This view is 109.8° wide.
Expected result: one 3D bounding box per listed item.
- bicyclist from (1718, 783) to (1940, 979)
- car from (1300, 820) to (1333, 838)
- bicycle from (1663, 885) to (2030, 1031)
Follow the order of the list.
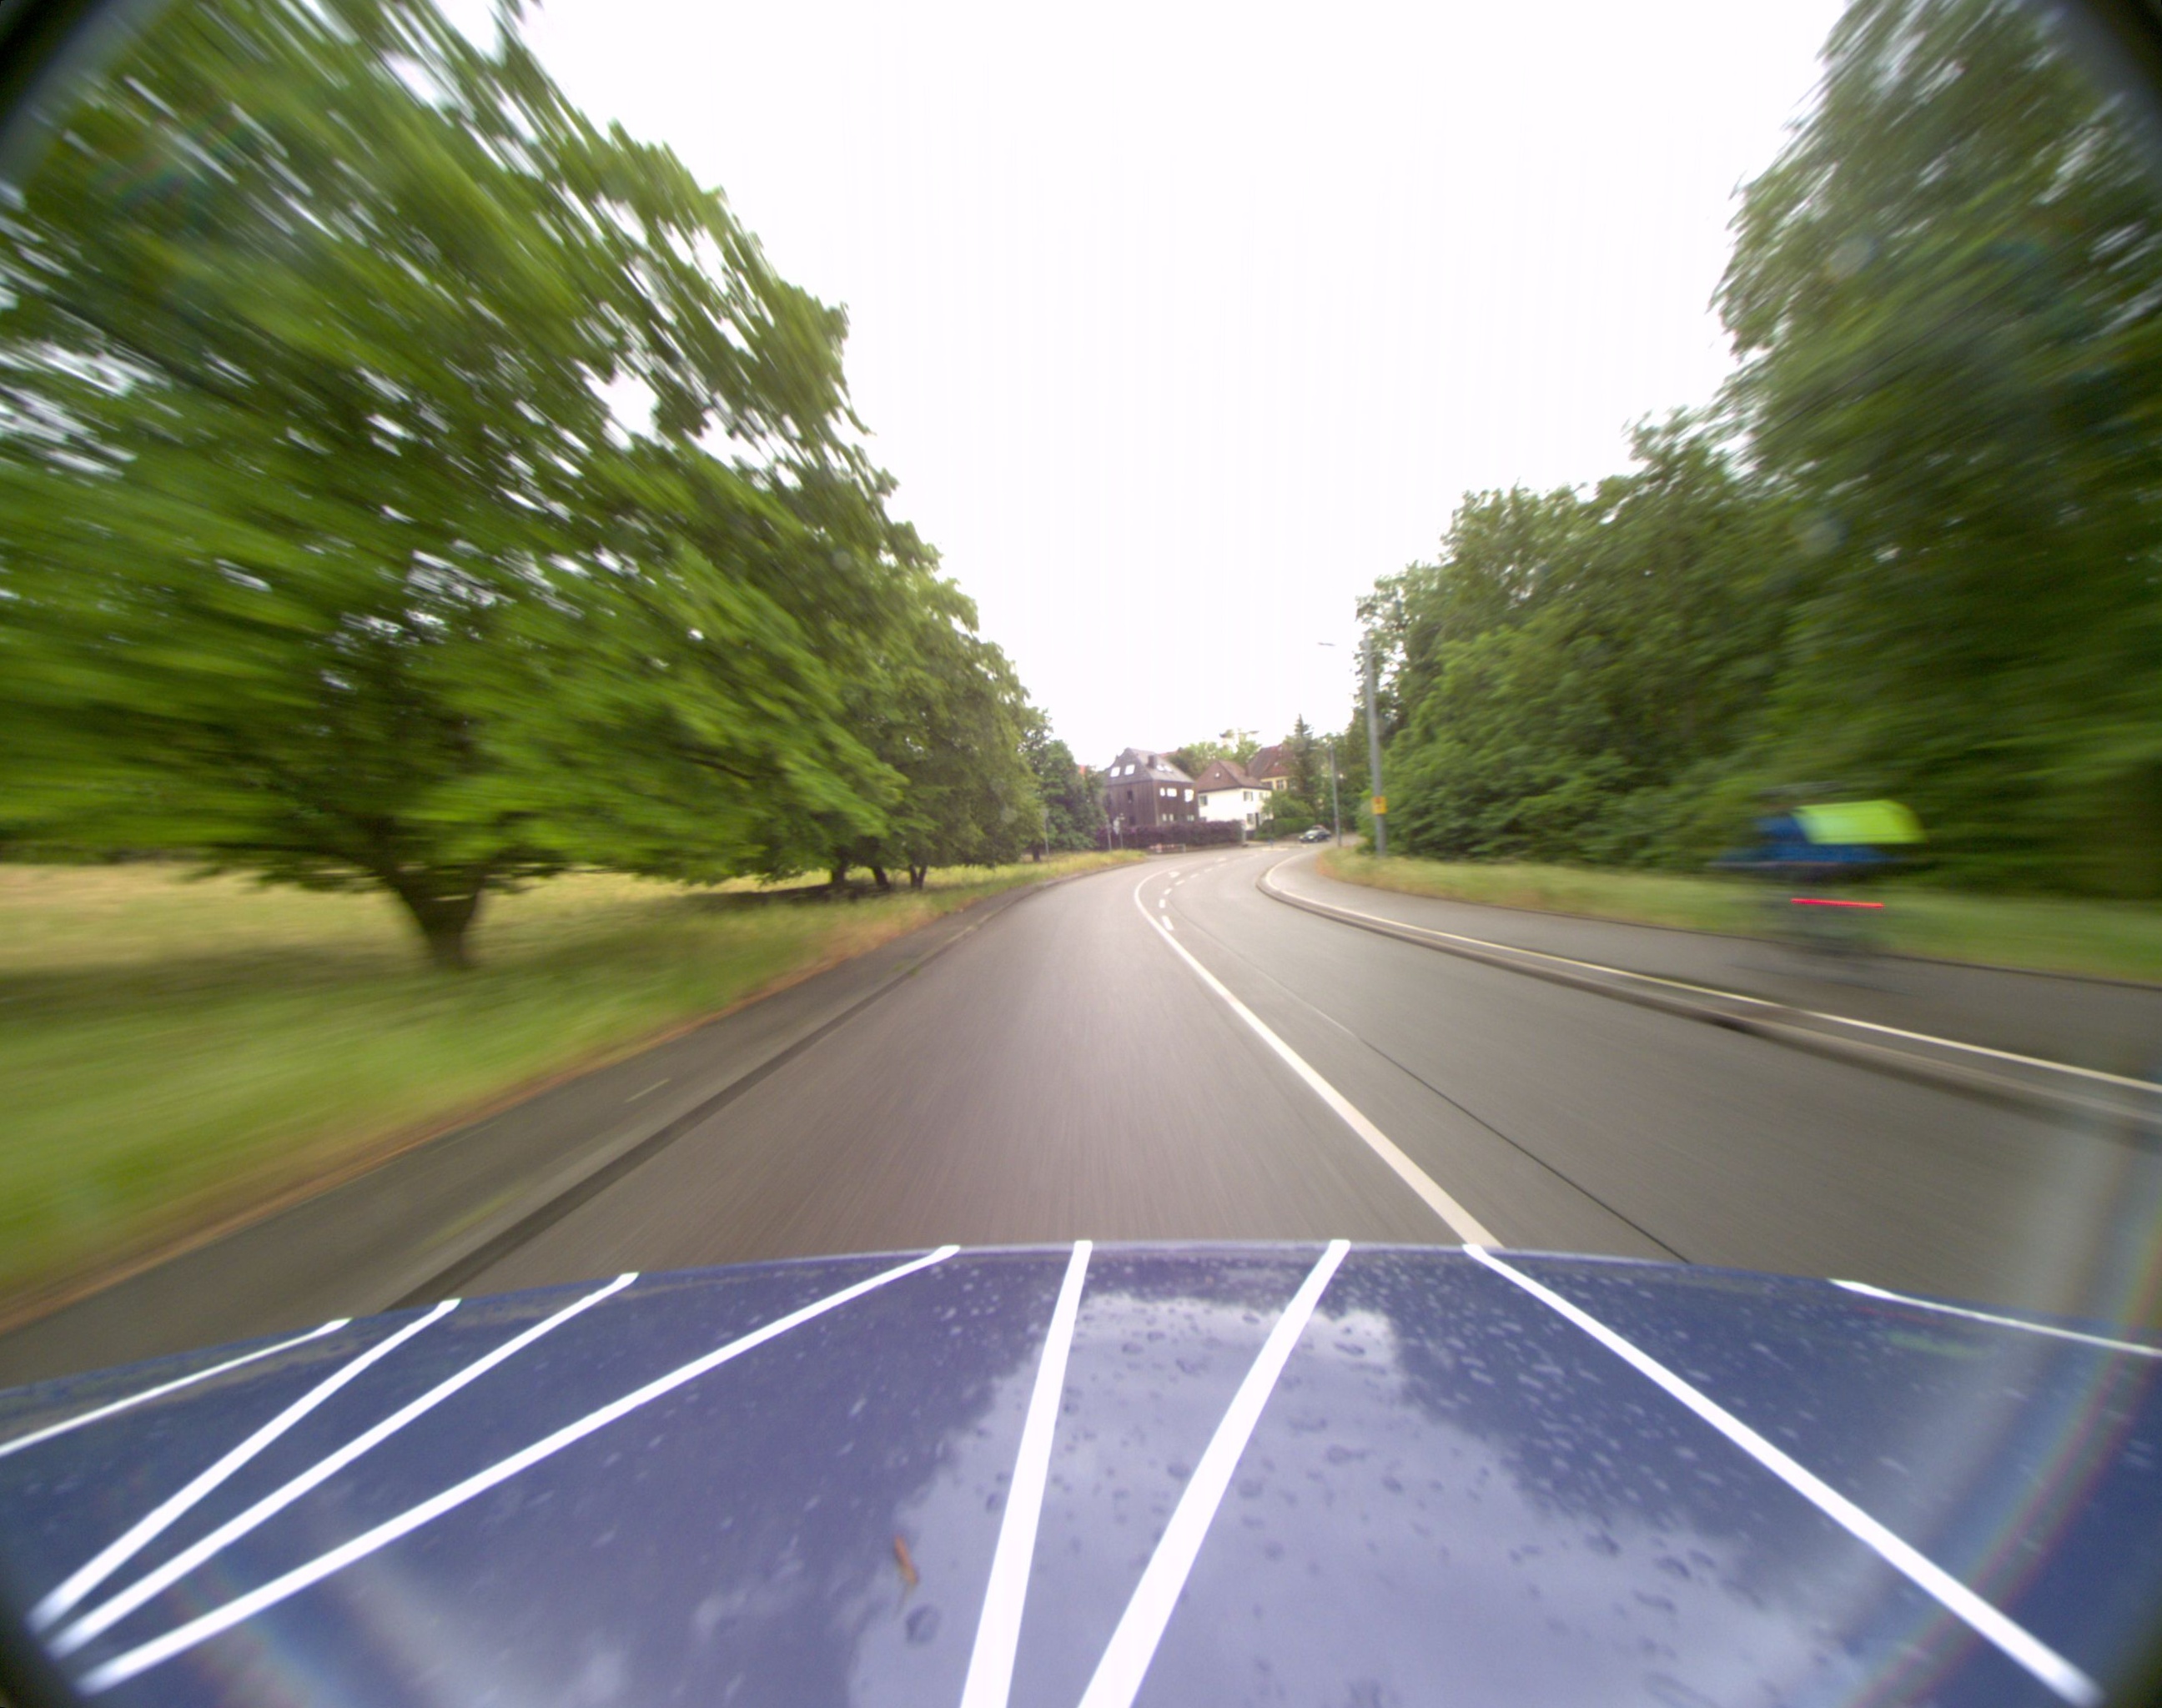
[{"bbox_3d":[6.639,0.224,6.832,0.710,1.547,1.171,-6,0,0],"label":"bicyclist"},{"bbox_3d":[26.968,-2.856,87.124,1.994,1.708,4.006,-2,4,43],"label":"car"},{"bbox_3d":[6.705,0.830,6.961,0.726,0.936,2.550,-6,0,0],"label":"bicycle"}]
